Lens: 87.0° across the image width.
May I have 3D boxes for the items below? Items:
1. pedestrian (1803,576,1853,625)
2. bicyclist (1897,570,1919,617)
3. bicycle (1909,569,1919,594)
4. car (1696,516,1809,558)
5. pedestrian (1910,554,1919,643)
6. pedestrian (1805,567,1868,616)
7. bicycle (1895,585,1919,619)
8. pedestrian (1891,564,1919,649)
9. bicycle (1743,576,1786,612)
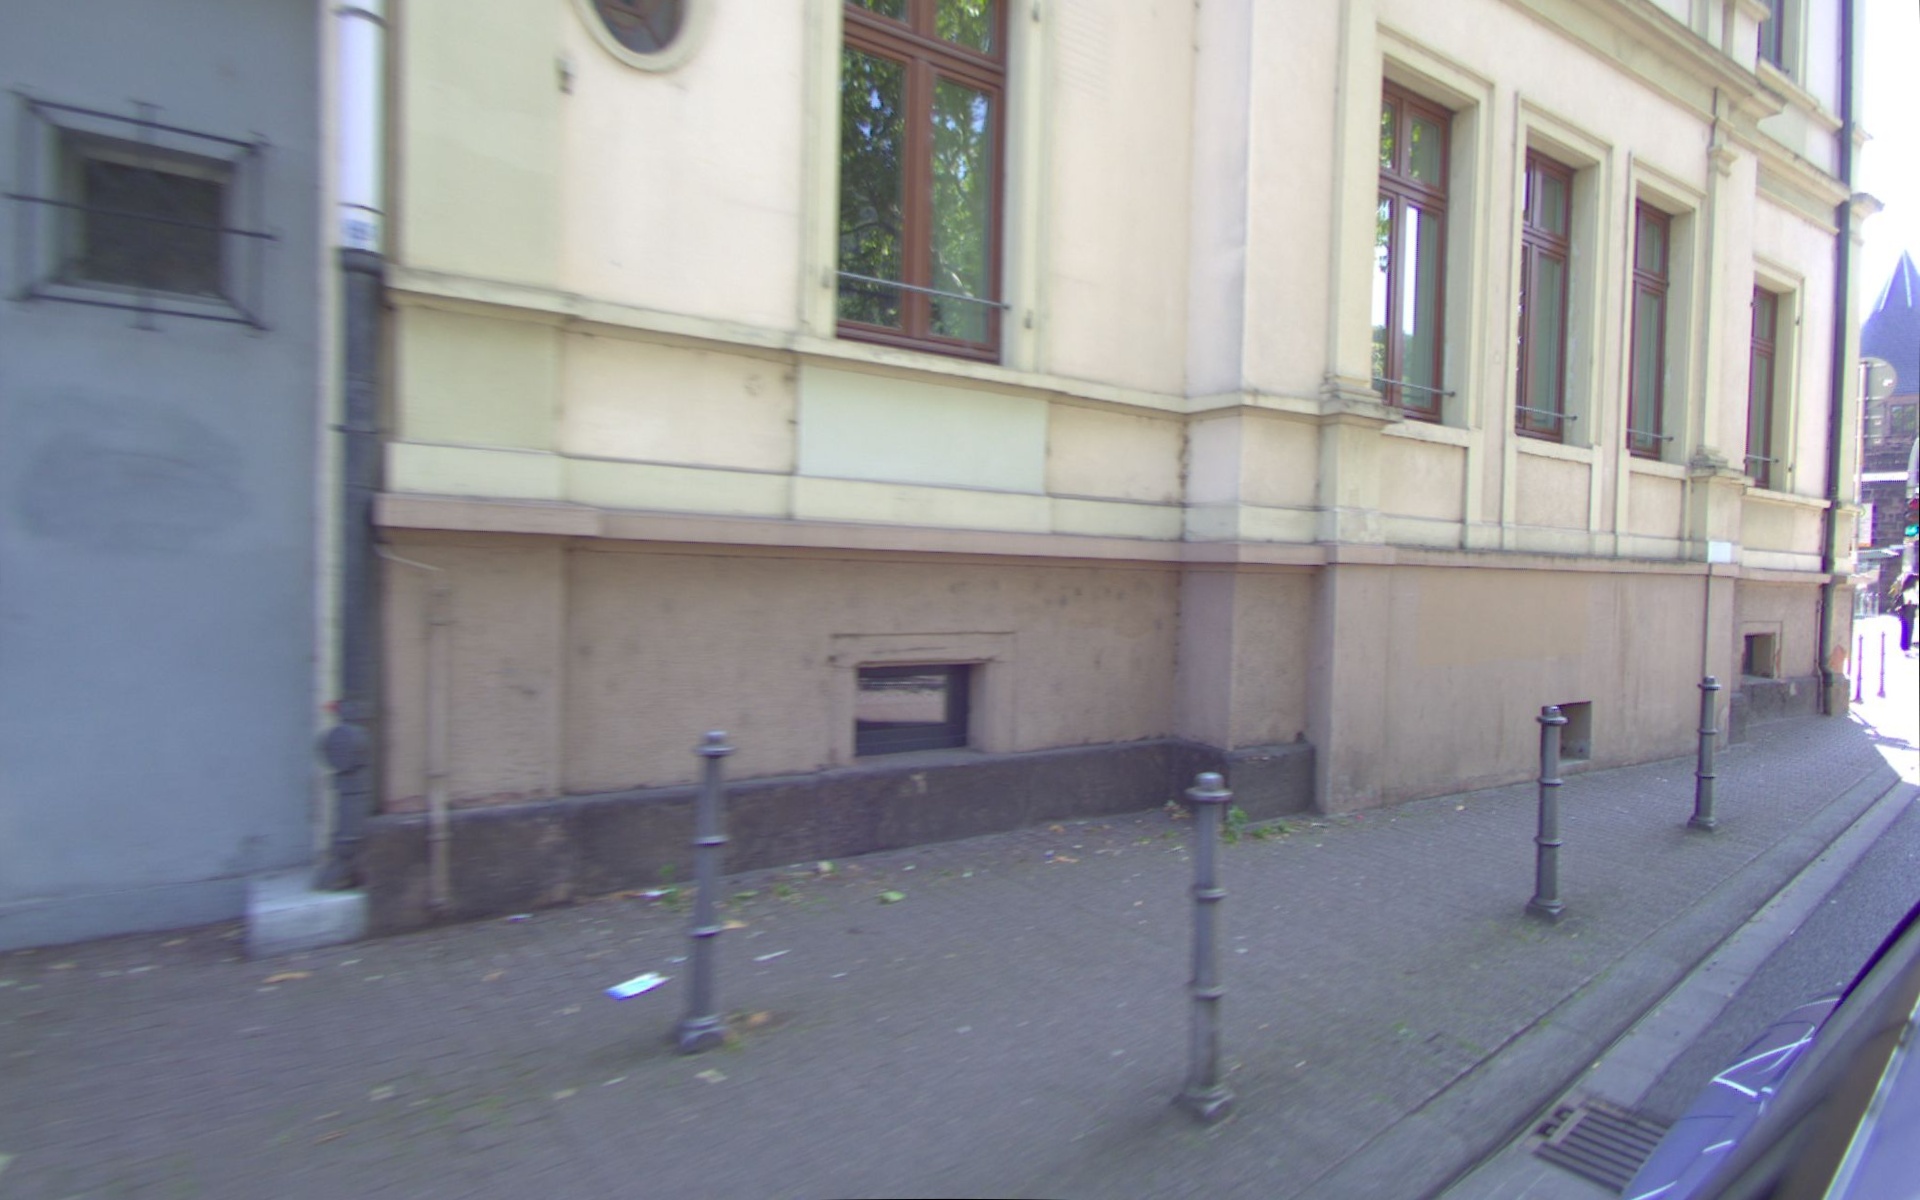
[{"bbox_3d":[23.625,0.012,27.559,0.682,1.298,0.961,-1,1,-43],"label":"pedestrian"},{"bbox_3d":[33.215,-0.238,35.298,0.707,1.648,0.875,1,1,38],"label":"bicyclist"},{"bbox_3d":[46.277,-0.886,48.602,1.813,1.167,0.844,-1,2,-42],"label":"bicycle"},{"bbox_3d":[41.010,-3.219,52.481,1.766,1.900,4.271,-2,1,-34],"label":"car"},{"bbox_3d":[20.656,-0.029,21.495,0.717,1.875,0.617,-1,1,-41],"label":"pedestrian"},{"bbox_3d":[24.179,-0.255,27.933,0.682,1.324,1.249,-1,2,-42],"label":"pedestrian"},{"bbox_3d":[33.206,0.054,35.298,0.687,1.143,1.982,1,2,37],"label":"bicycle"},{"bbox_3d":[19.355,0.113,20.446,0.670,1.696,0.716,-1,1,-41],"label":"pedestrian"},{"bbox_3d":[26.150,-0.215,32.920,0.540,1.145,1.727,0,1,19],"label":"bicycle"}]
